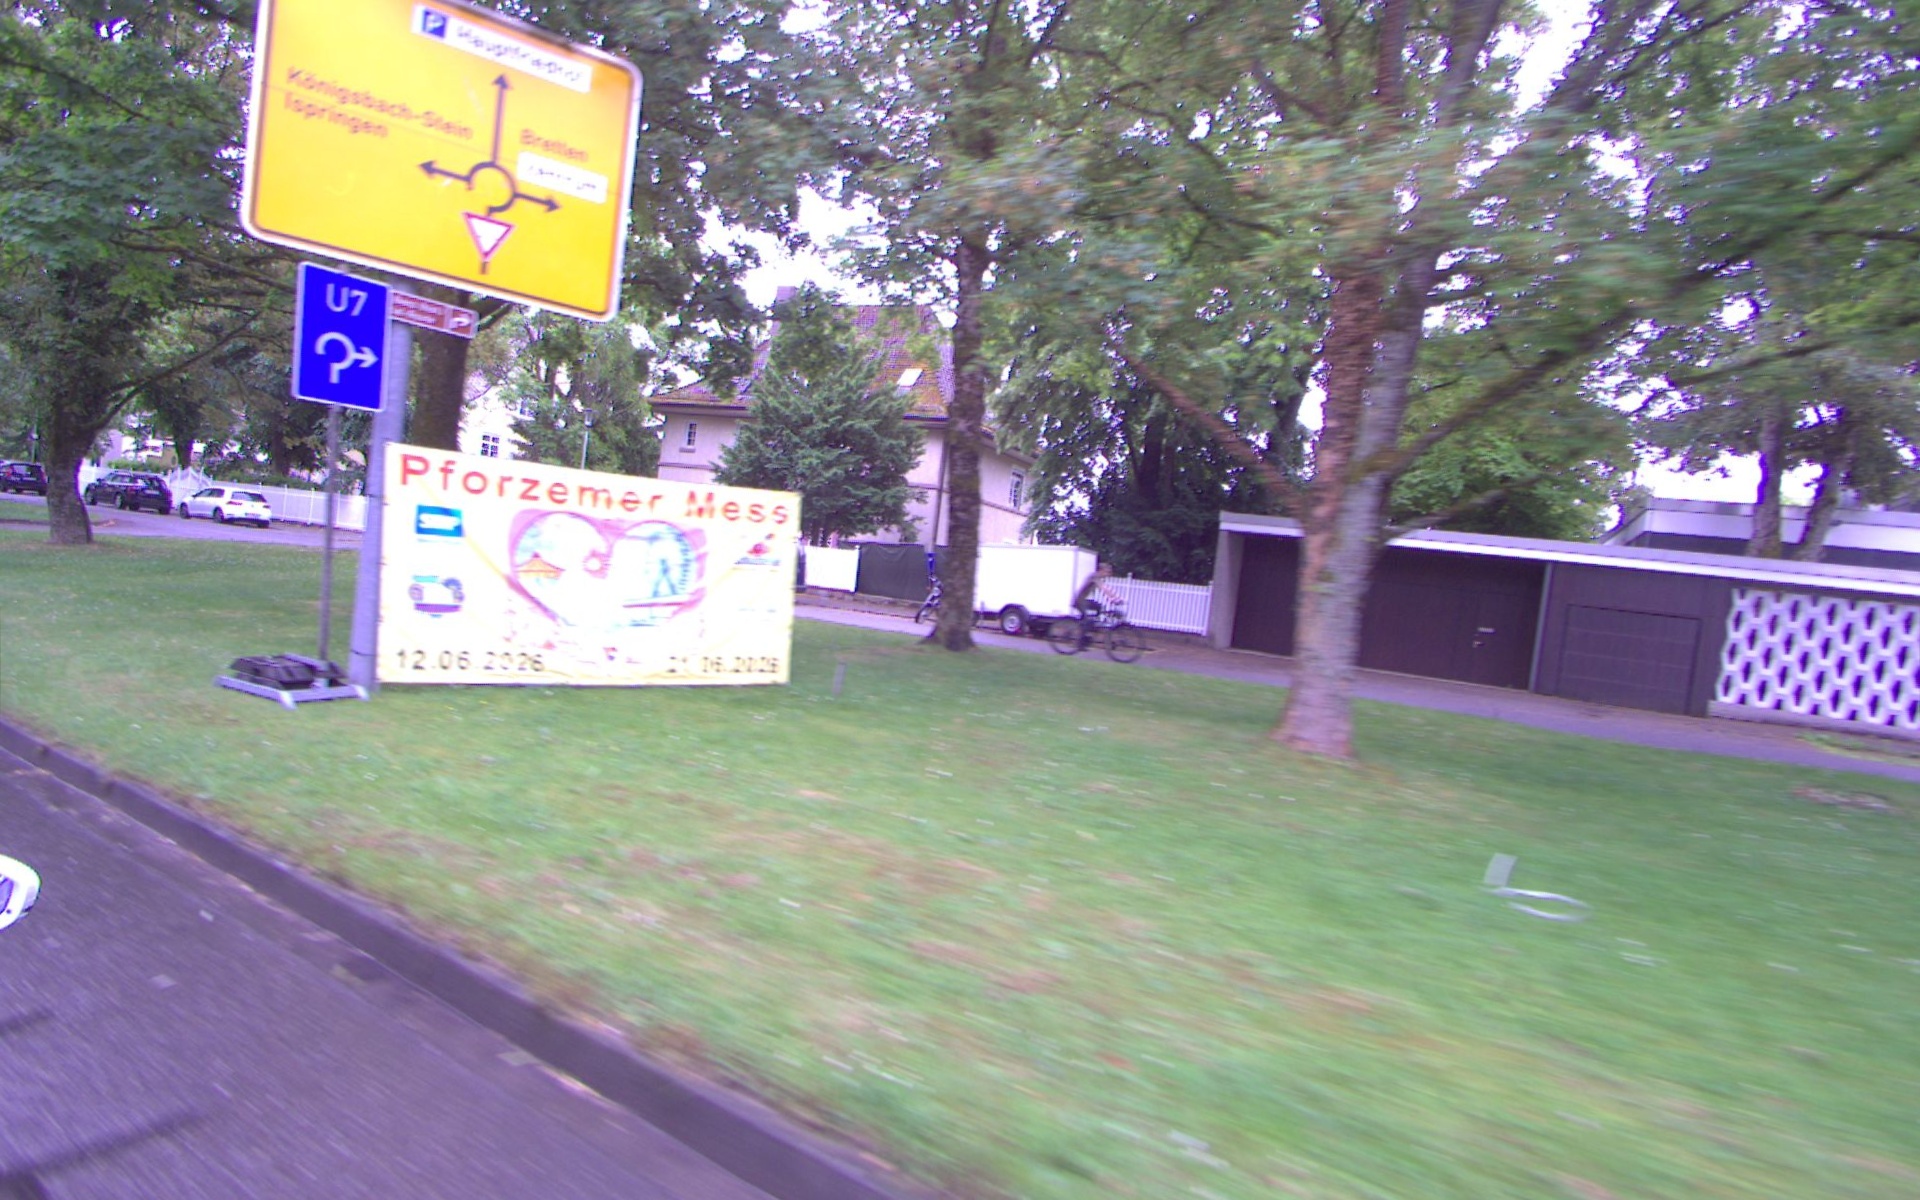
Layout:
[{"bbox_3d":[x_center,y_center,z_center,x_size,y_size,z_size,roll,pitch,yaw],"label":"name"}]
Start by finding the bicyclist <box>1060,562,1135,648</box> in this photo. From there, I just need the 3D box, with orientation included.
[{"bbox_3d":[2.465,0.093,17.998,0.983,1.408,0.745,6,1,32],"label":"bicyclist"}]

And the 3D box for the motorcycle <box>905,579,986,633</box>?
[{"bbox_3d":[-0.339,0.151,24.344,1.876,1.107,0.651,6,3,-39],"label":"motorcycle"}]

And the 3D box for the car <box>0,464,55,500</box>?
[{"bbox_3d":[-46.126,-5.811,48.981,4.041,1.430,1.803,8,3,29],"label":"car"}]

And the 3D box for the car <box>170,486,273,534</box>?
[{"bbox_3d":[-29.251,-3.565,39.854,3.939,1.429,1.618,8,3,26],"label":"car"}]

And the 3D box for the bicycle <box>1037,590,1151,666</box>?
[{"bbox_3d":[2.391,0.496,18.014,1.832,1.153,0.596,6,1,32],"label":"bicycle"}]

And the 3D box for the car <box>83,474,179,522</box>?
[{"bbox_3d":[-35.716,-4.391,43.328,4.041,1.550,1.803,8,3,29],"label":"car"}]

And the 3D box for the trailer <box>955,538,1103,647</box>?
[{"bbox_3d":[1.600,-0.168,23.337,2.898,2.182,1.438,7,2,26],"label":"trailer"}]
